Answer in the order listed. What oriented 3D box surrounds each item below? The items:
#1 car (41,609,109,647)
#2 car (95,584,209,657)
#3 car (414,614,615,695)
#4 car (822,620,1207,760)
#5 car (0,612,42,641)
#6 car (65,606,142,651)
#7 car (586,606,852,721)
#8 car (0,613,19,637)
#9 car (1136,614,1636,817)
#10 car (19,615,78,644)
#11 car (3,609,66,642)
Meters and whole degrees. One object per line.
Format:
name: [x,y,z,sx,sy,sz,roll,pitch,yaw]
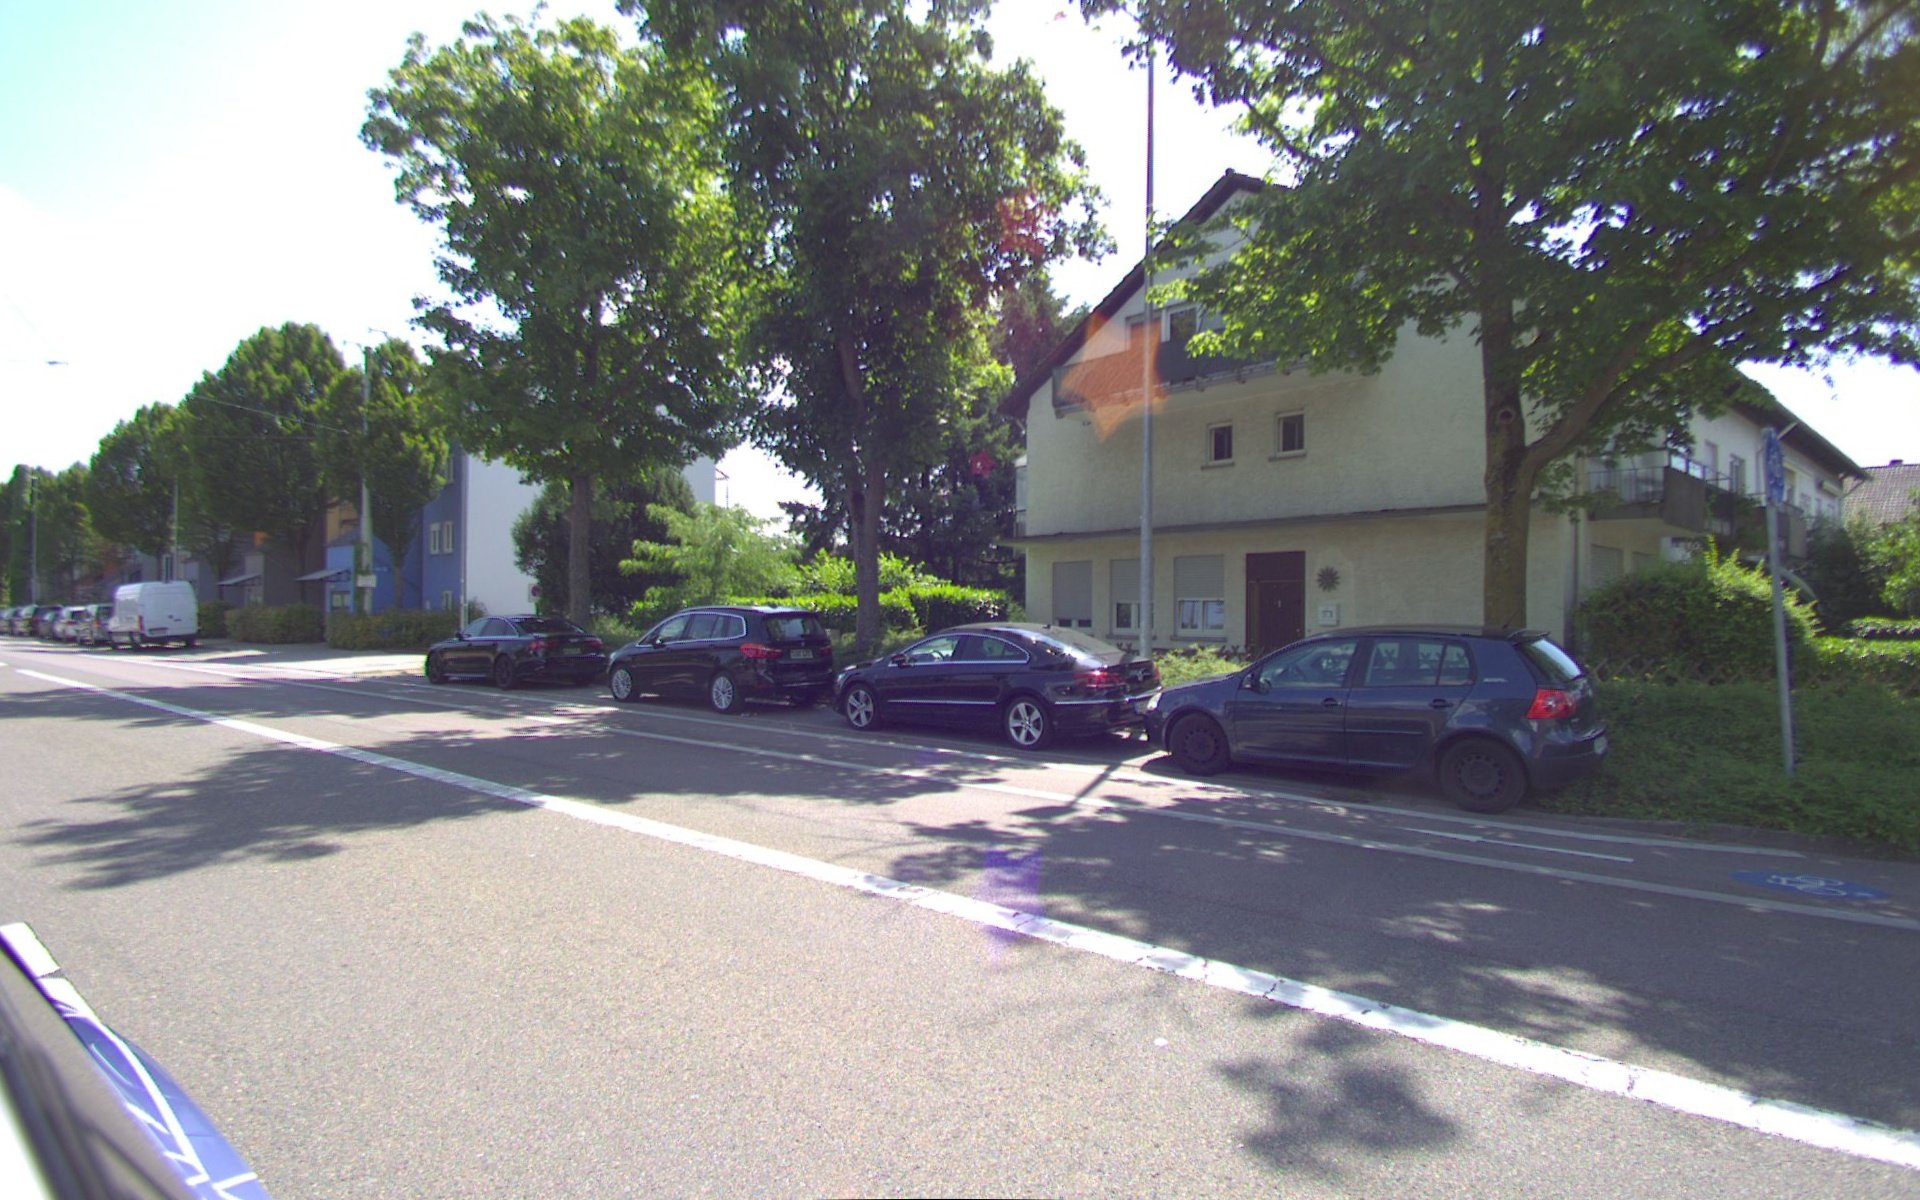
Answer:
car: [-43.620,1.369,49.846,4.898,1.765,1.699,-1,-2,39]
car: [-33.037,0.794,41.286,7.031,2.670,2.300,-1,2,41]
car: [-9.185,1.029,20.703,4.798,1.467,1.757,-1,-1,39]
car: [0.531,0.984,12.712,4.691,1.383,1.757,-1,1,39]
car: [-56.009,1.549,59.940,4.278,1.629,1.640,0,-2,37]
car: [-39.309,1.264,46.398,5.358,1.909,1.788,-1,1,40]
car: [-4.020,0.924,16.464,4.632,1.616,1.757,-1,0,39]
car: [-60.798,1.589,63.420,4.953,1.457,1.726,-1,0,36]
car: [3.895,0.902,9.622,4.044,1.492,1.757,-1,0,40]
car: [-47.901,1.526,53.165,4.082,1.482,1.583,-1,-1,38]
car: [-51.743,1.428,56.560,4.879,1.729,1.734,-1,-2,37]
